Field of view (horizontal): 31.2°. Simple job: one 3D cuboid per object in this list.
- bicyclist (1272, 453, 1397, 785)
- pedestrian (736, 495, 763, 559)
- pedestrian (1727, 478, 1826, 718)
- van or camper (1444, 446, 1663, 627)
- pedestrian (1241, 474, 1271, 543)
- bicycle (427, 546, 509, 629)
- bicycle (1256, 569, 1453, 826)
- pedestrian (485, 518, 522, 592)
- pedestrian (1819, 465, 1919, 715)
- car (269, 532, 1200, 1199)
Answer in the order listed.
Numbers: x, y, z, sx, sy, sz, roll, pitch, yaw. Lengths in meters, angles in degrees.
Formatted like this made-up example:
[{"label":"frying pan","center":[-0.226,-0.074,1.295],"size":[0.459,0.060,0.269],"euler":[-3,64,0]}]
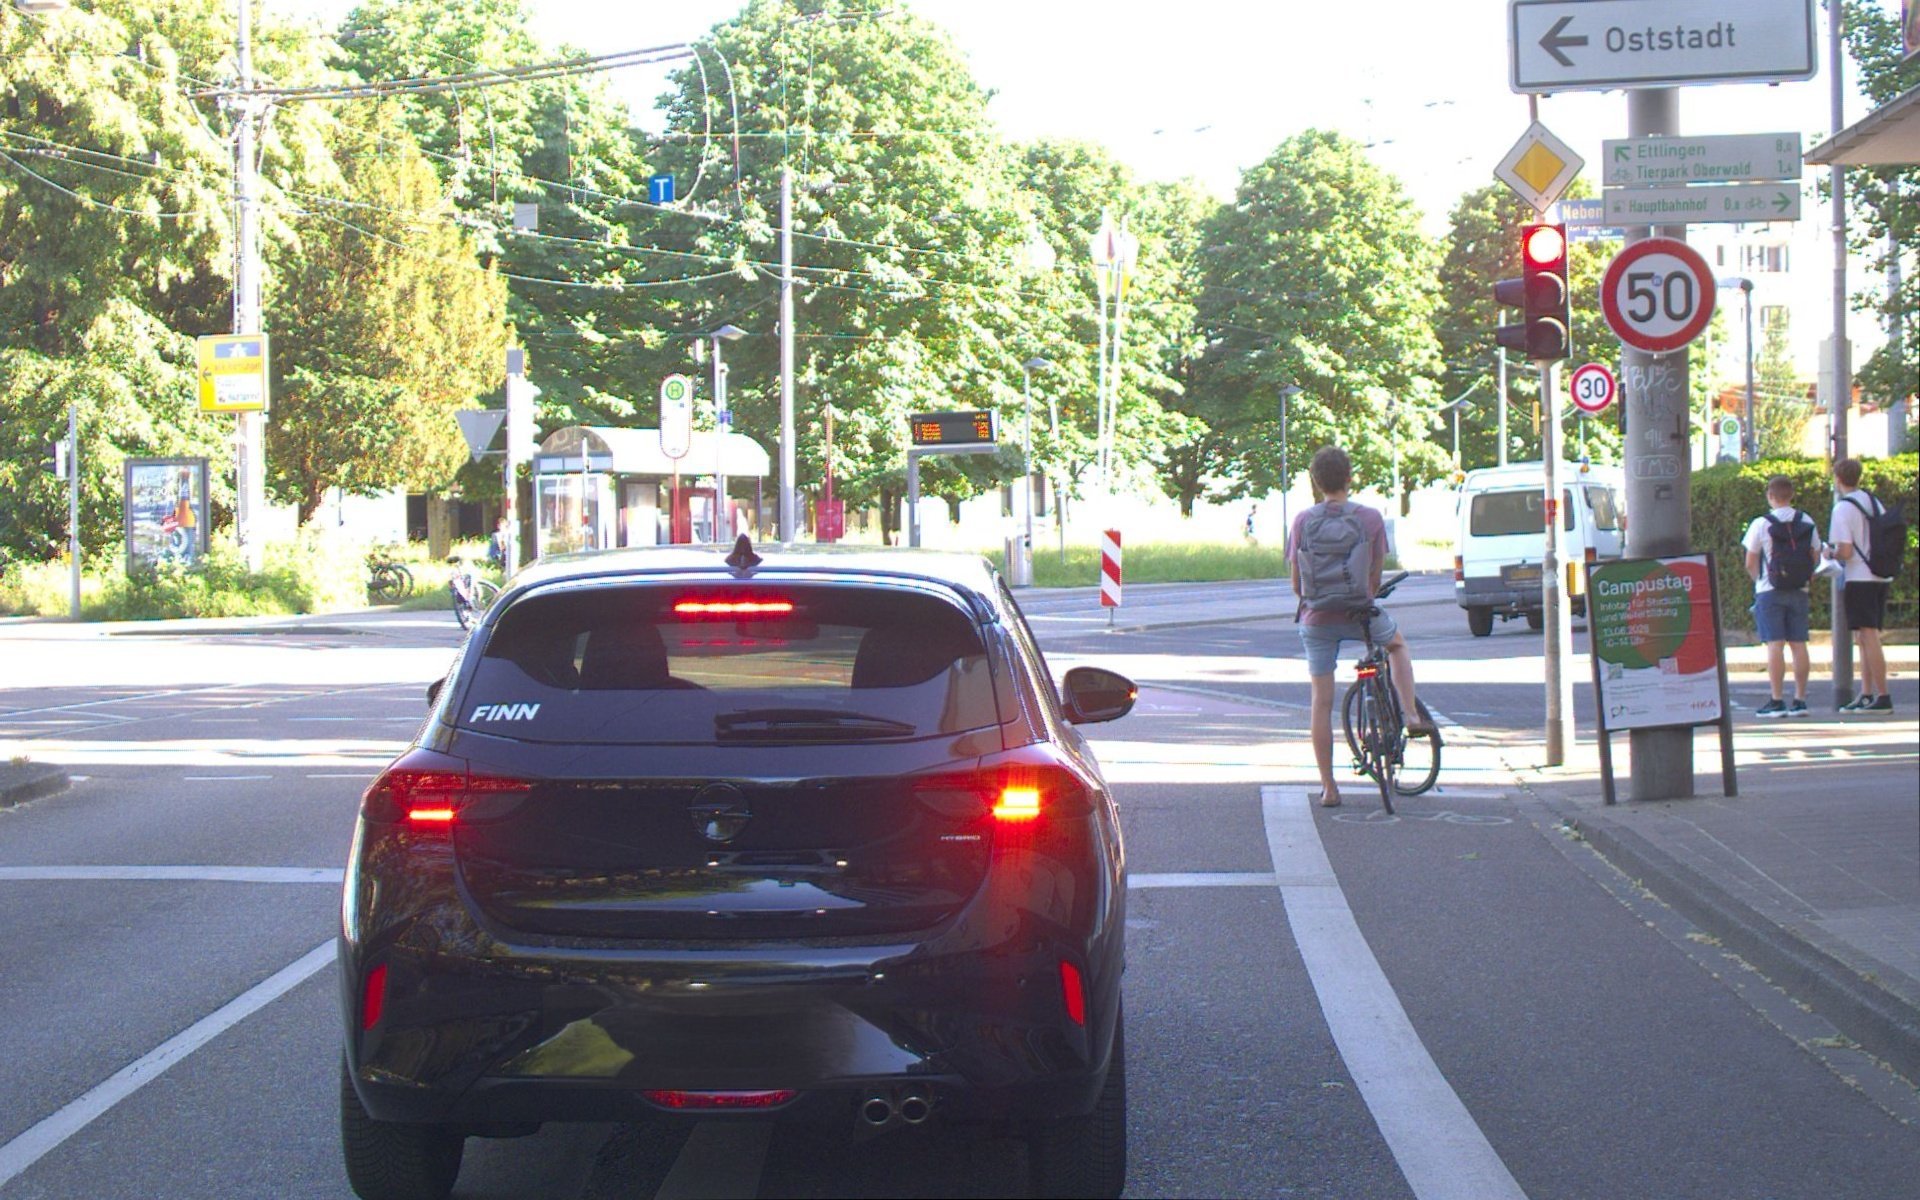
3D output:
[{"label":"bicyclist","center":[1.939,0.090,17.764],"size":[0.534,1.686,0.567],"euler":[0,1,17]},{"label":"pedestrian","center":[-6.213,-2.153,101.255],"size":[0.737,1.865,0.662],"euler":[1,0,-6]},{"label":"pedestrian","center":[6.080,-0.018,25.582],"size":[0.633,1.757,0.582],"euler":[1,0,20]},{"label":"van or camper","center":[8.055,-0.839,46.329],"size":[2.031,2.302,4.535],"euler":[1,1,21]},{"label":"pedestrian","center":[8.011,-2.478,93.115],"size":[0.604,1.865,0.519],"euler":[0,0,-39]},{"label":"bicycle","center":[-6.615,-0.182,46.318],"size":[0.796,1.061,2.185],"euler":[0,1,-1]},{"label":"bicycle","center":[2.084,0.471,17.941],"size":[0.753,1.231,2.014],"euler":[0,1,14]},{"label":"pedestrian","center":[-9.143,-0.902,68.871],"size":[0.570,1.467,0.665],"euler":[0,1,7]},{"label":"pedestrian","center":[6.733,-0.079,25.452],"size":[0.633,1.814,0.744],"euler":[1,0,20]},{"label":"car","center":[-0.470,0.567,8.809],"size":[1.840,1.457,3.984],"euler":[0,1,-1]}]
